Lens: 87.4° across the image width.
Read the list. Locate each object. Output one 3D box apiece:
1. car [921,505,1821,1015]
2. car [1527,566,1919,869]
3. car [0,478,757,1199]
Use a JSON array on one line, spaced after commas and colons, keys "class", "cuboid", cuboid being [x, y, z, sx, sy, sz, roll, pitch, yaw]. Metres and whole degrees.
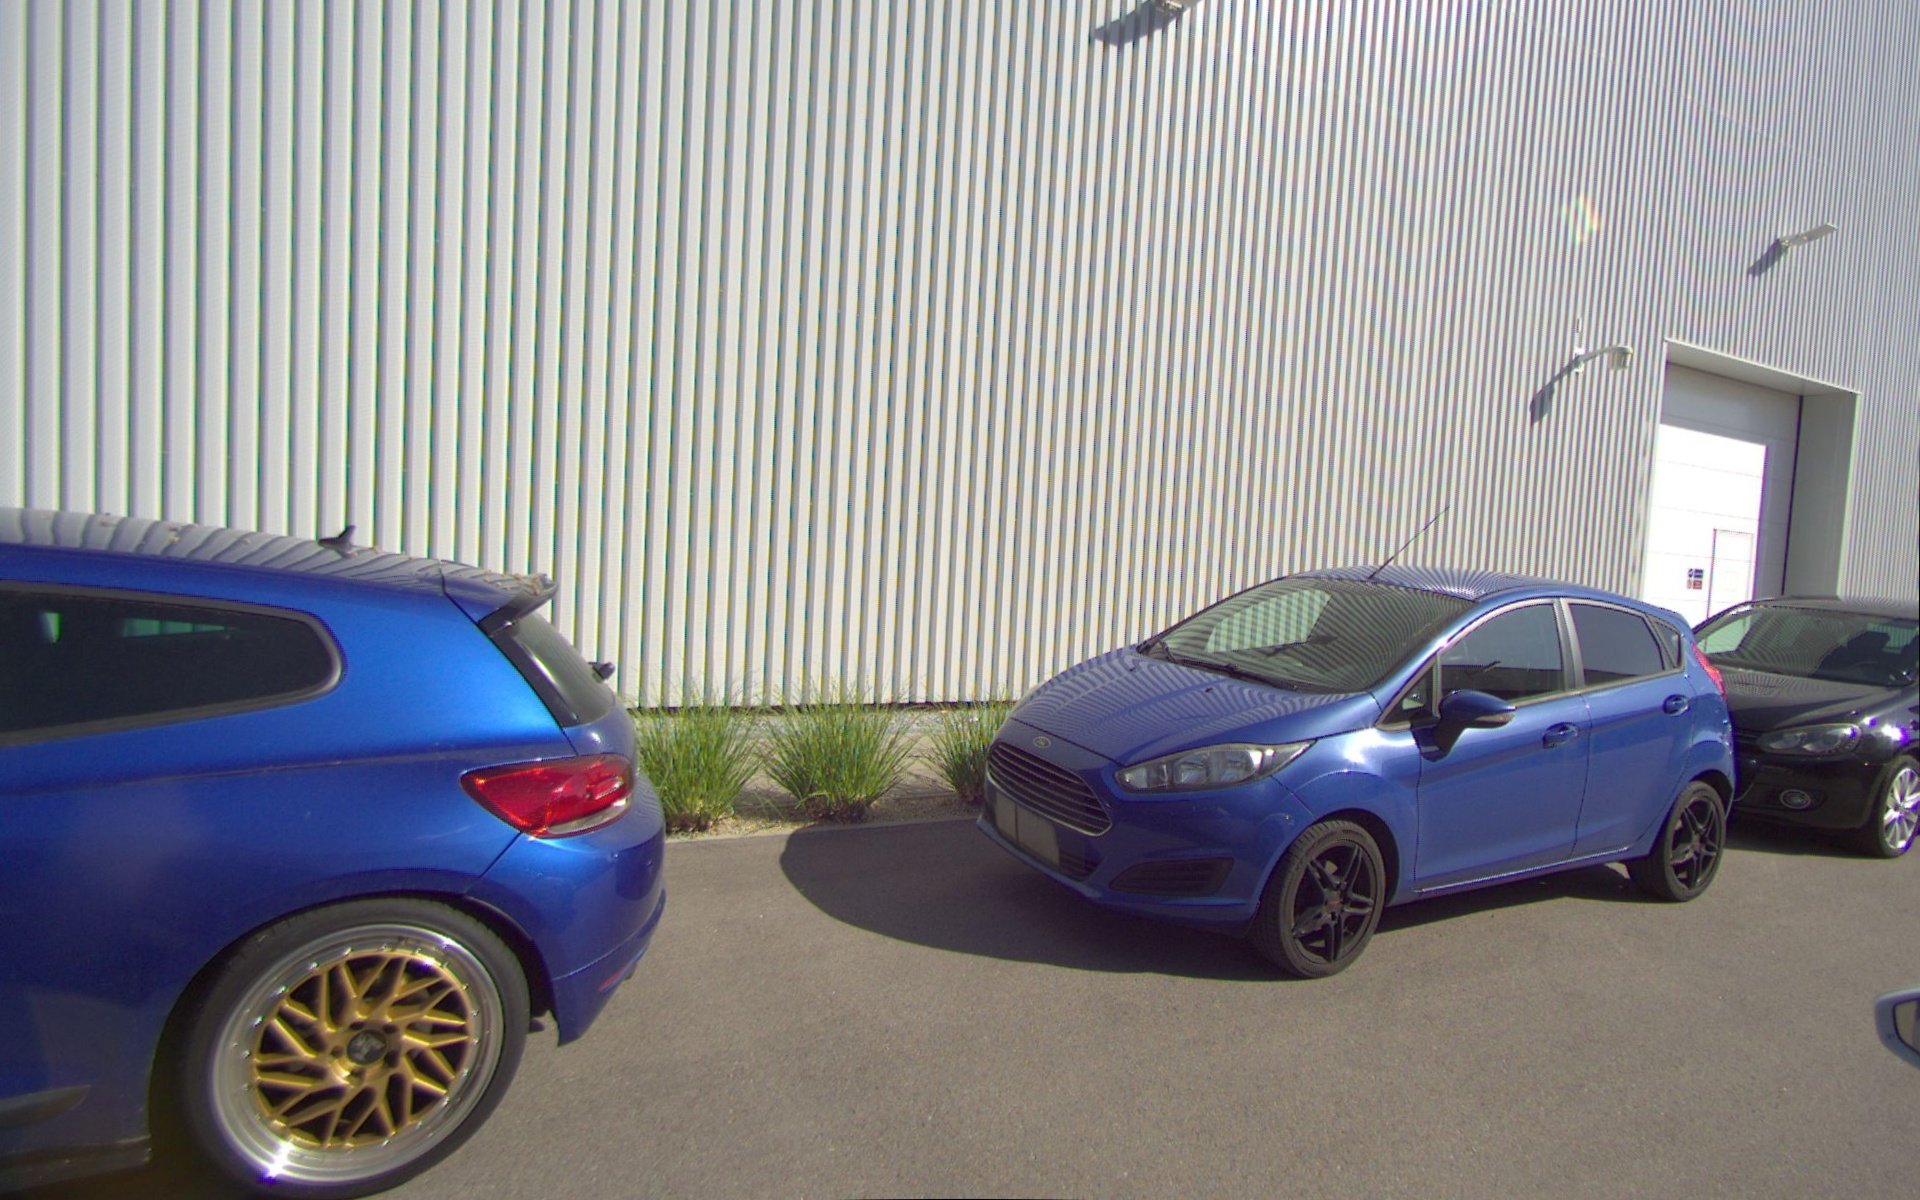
[{"class": "car", "cuboid": [2.019, 0.487, 4.703, 4.045, 1.520, 1.623, 2, 5, -29]}, {"class": "car", "cuboid": [6.223, 0.673, 7.093, 4.239, 1.520, 1.747, 2, 4, -28]}, {"class": "car", "cuboid": [-2.677, 0.393, 2.210, 4.004, 1.379, 1.766, 2, 3, -29]}]
